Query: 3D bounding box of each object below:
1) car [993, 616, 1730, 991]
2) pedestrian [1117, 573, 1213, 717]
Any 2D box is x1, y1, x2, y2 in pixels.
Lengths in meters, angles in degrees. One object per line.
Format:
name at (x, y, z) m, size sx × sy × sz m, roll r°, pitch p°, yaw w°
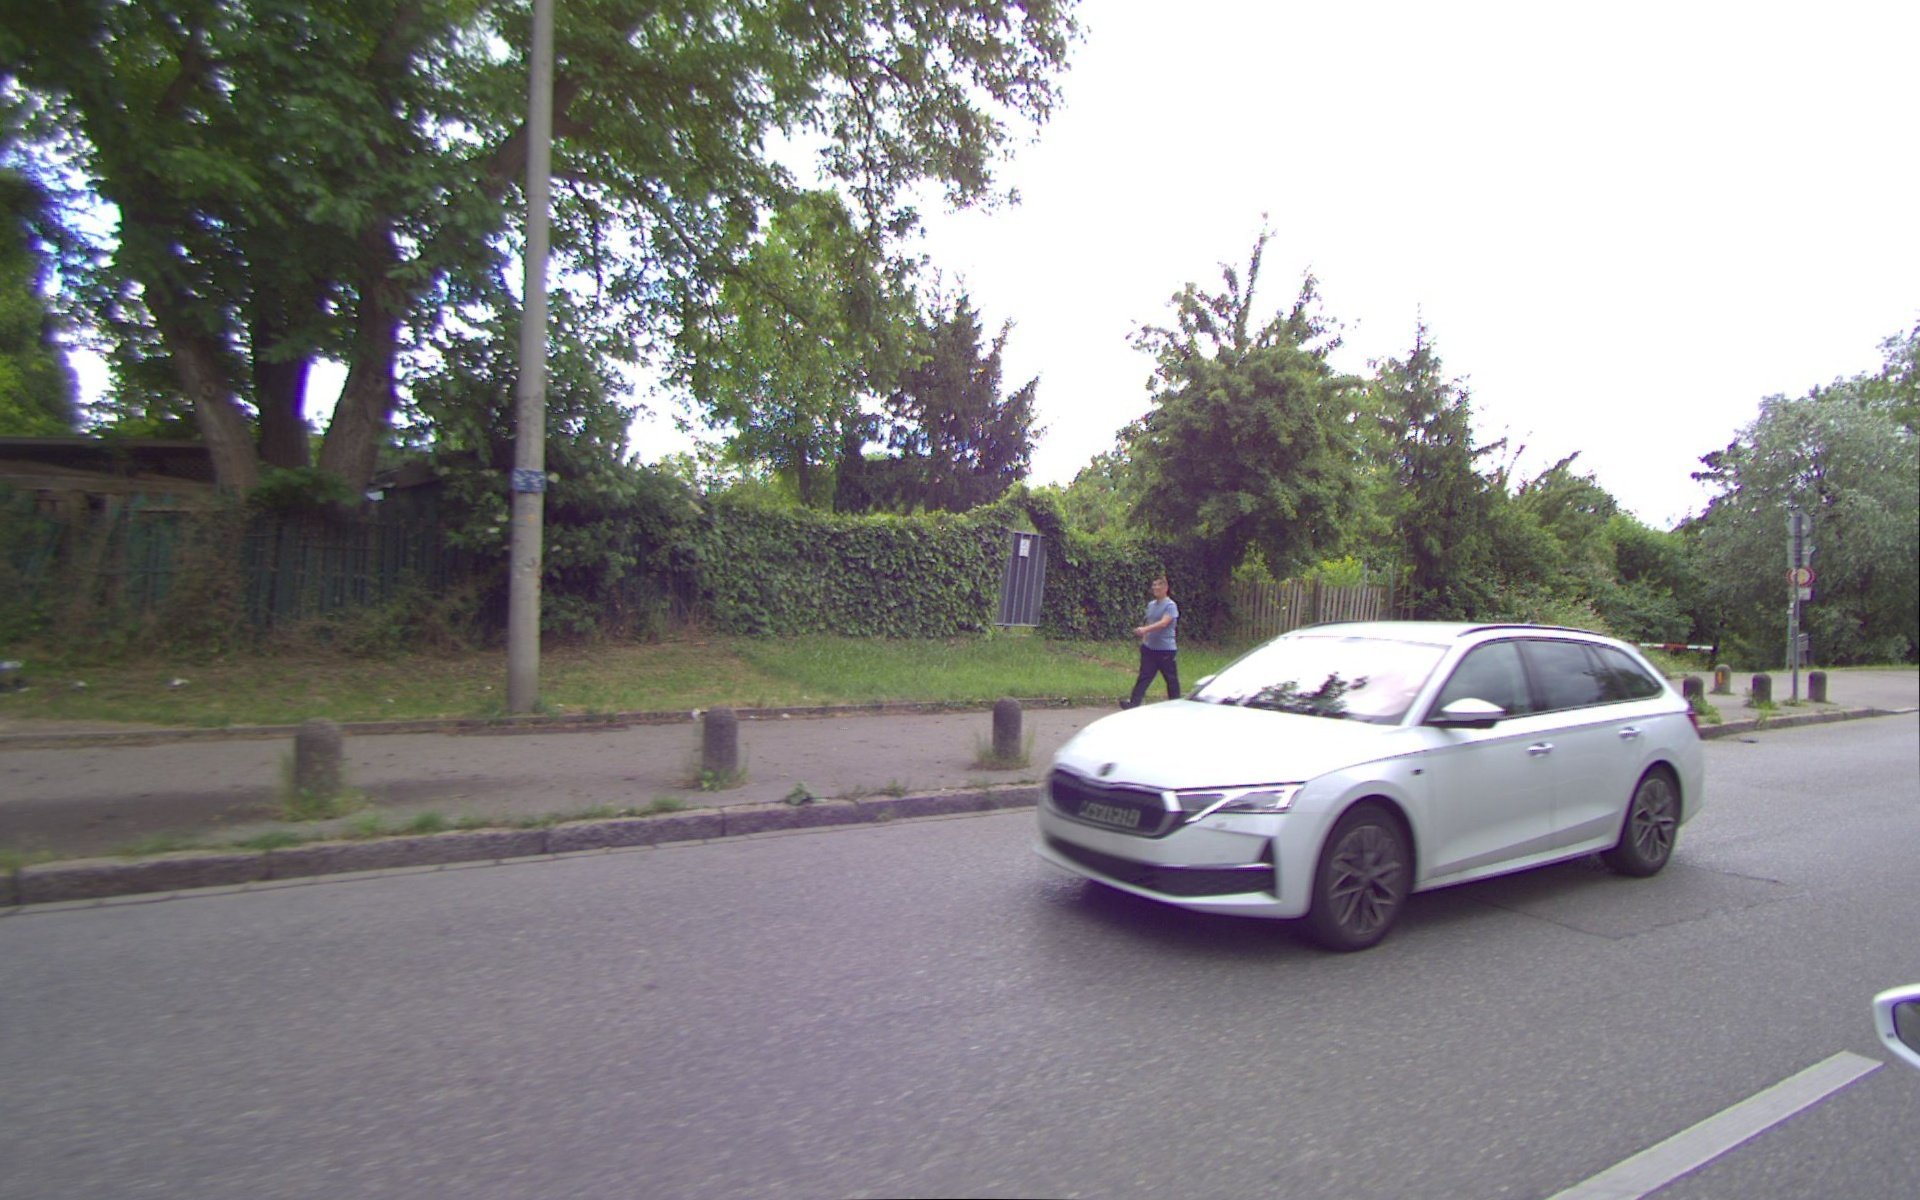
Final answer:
car at (2.473, 0.854, 5.848) m, size 4.312 × 1.458 × 1.764 m, roll 1°, pitch -1°, yaw -31°
pedestrian at (2.480, 0.528, 12.180) m, size 0.828 × 1.656 × 0.686 m, roll 1°, pitch 3°, yaw -29°
